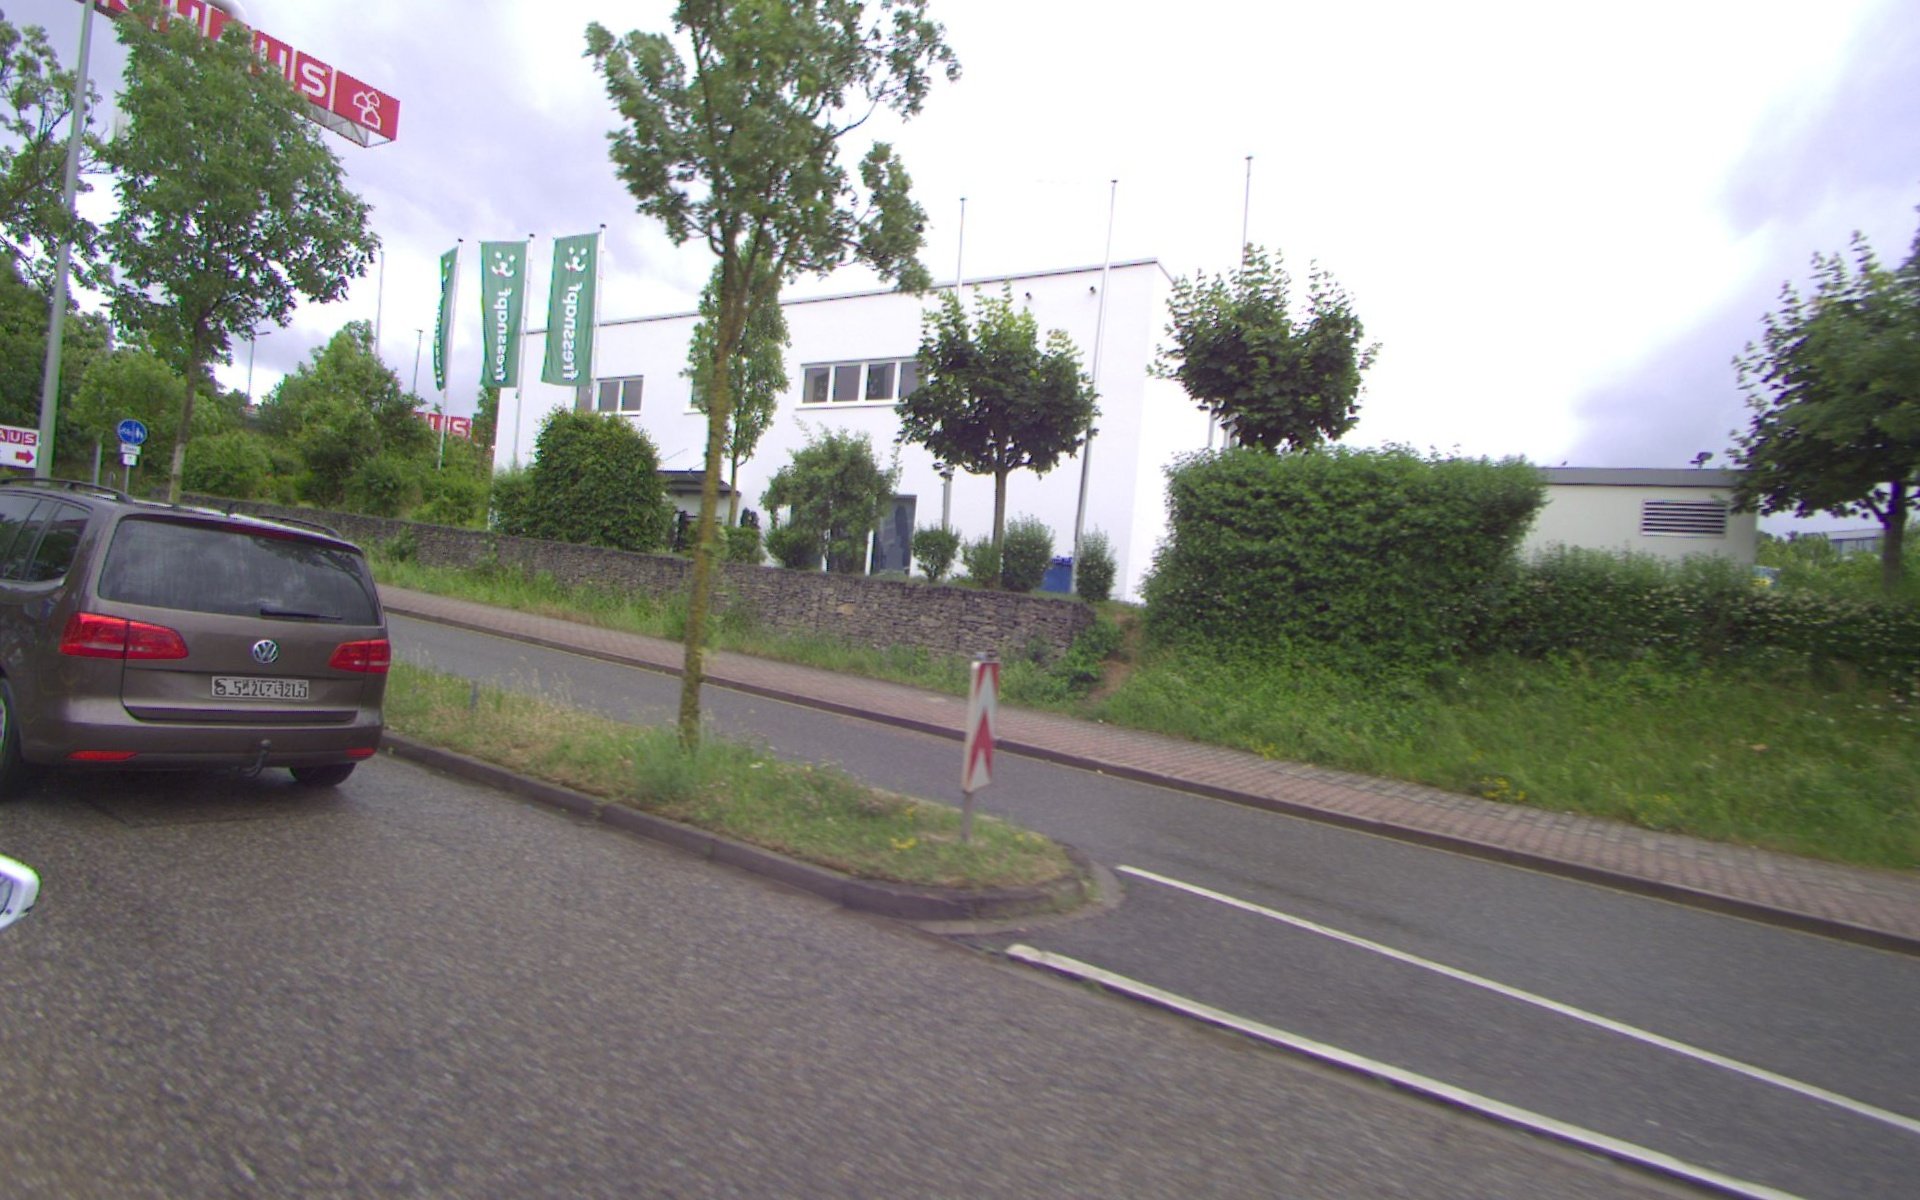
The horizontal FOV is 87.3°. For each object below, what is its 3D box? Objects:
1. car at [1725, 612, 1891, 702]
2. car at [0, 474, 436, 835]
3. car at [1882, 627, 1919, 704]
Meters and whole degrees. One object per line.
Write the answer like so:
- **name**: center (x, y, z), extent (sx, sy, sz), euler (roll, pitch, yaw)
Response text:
- **car**: center (19.298, 1.231, 23.118), extent (1.920, 1.702, 3.991), euler (6, 2, 27)
- **car**: center (-5.412, 0.140, 6.306), extent (4.147, 1.599, 1.689), euler (7, -1, 30)
- **car**: center (22.135, 1.525, 21.859), extent (1.920, 1.702, 4.154), euler (6, 2, 27)
